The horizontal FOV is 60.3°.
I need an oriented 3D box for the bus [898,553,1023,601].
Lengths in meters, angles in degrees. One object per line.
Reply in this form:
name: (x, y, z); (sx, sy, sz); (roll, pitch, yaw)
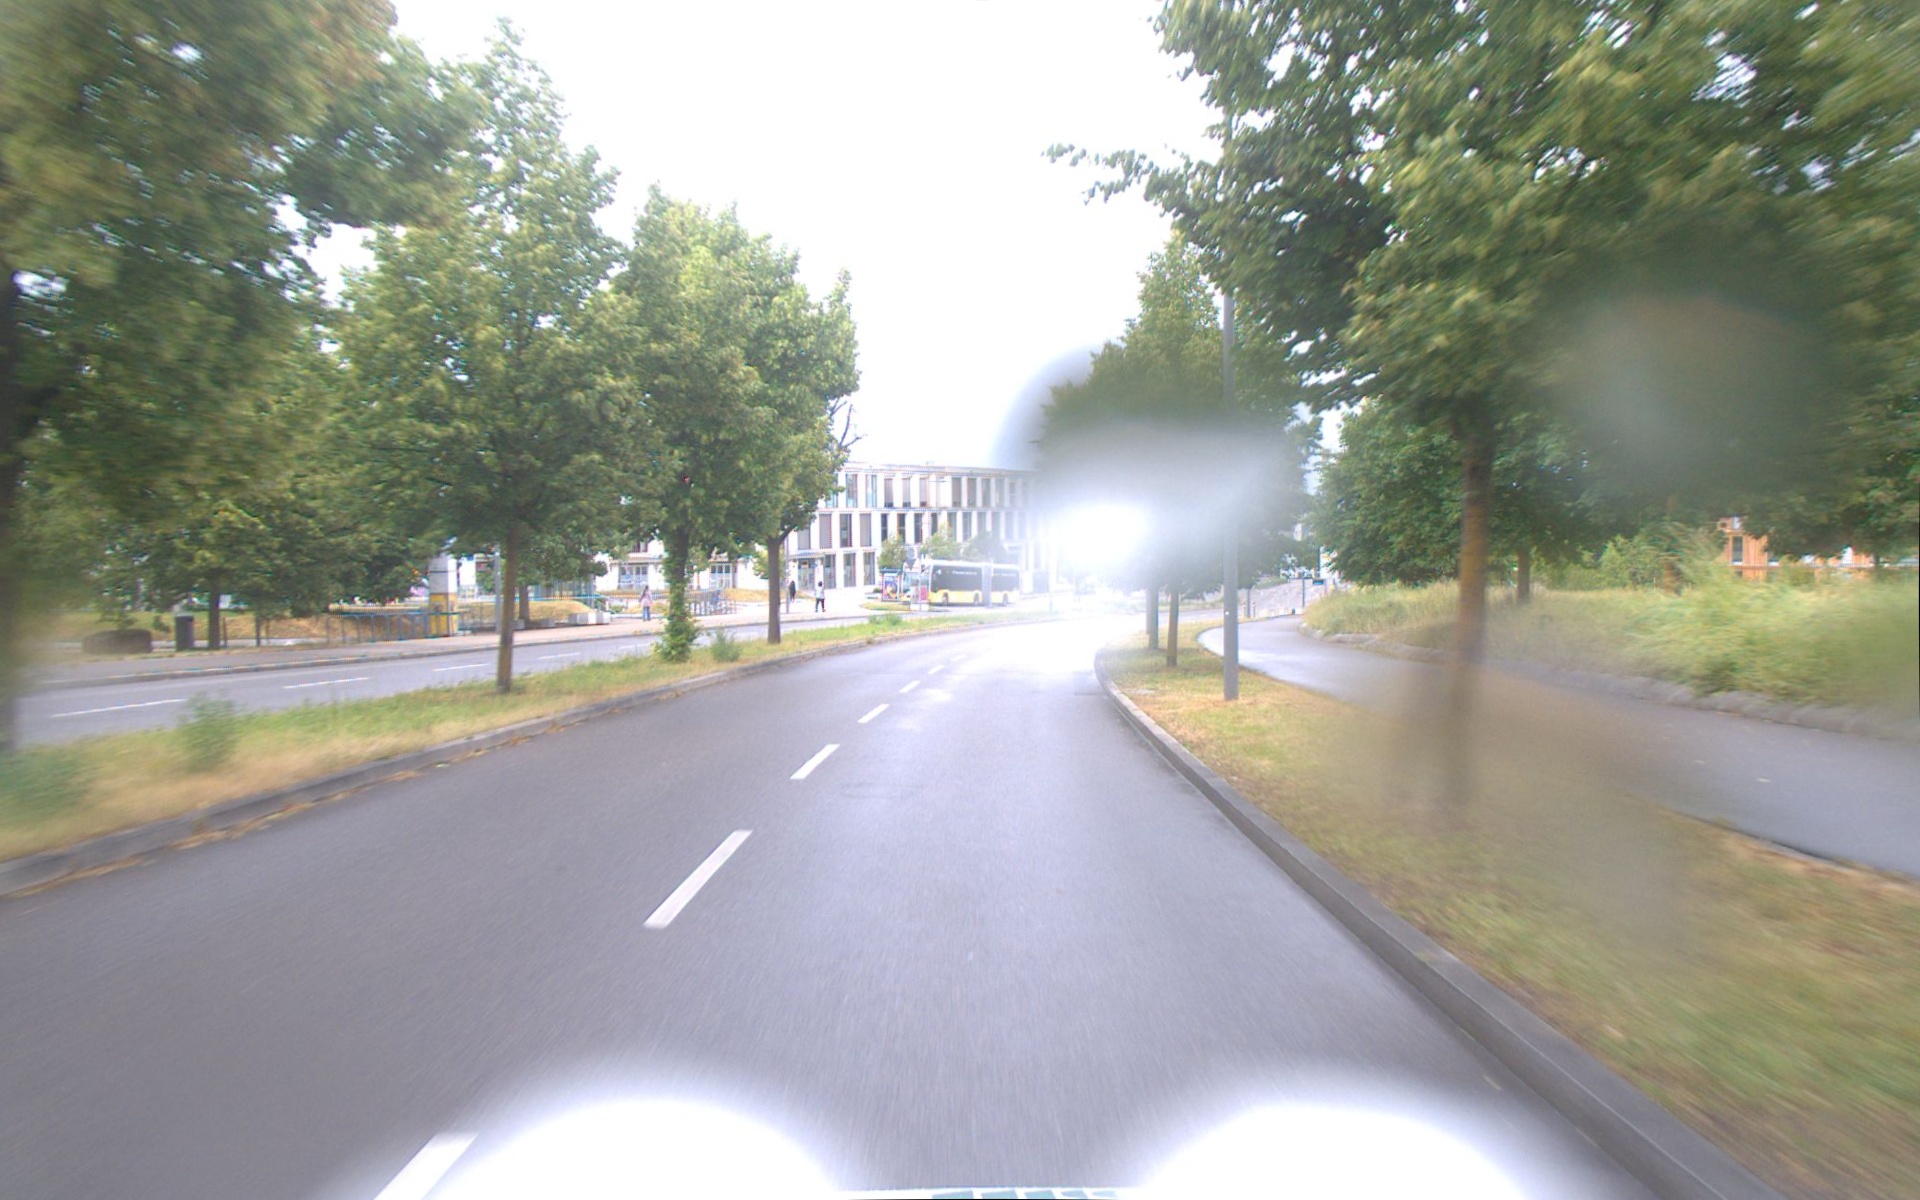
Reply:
bus: (0.319, -1.712, 130.439); (2.729, 3.416, 18.217); (-1, -1, 24)

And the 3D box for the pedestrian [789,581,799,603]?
pedestrian: (-11.618, -0.552, 115.704); (0.668, 1.551, 0.719); (0, -1, -1)

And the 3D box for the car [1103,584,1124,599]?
car: (15.818, -0.850, 170.069); (1.448, 1.520, 2.530); (-1, 0, 22)

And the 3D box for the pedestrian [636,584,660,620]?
pedestrian: (-14.198, 0.091, 75.258); (0.796, 1.649, 0.936); (0, -1, 9)

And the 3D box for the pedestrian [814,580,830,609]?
pedestrian: (-7.746, -0.301, 92.735); (0.818, 1.601, 0.718); (0, -1, -8)
